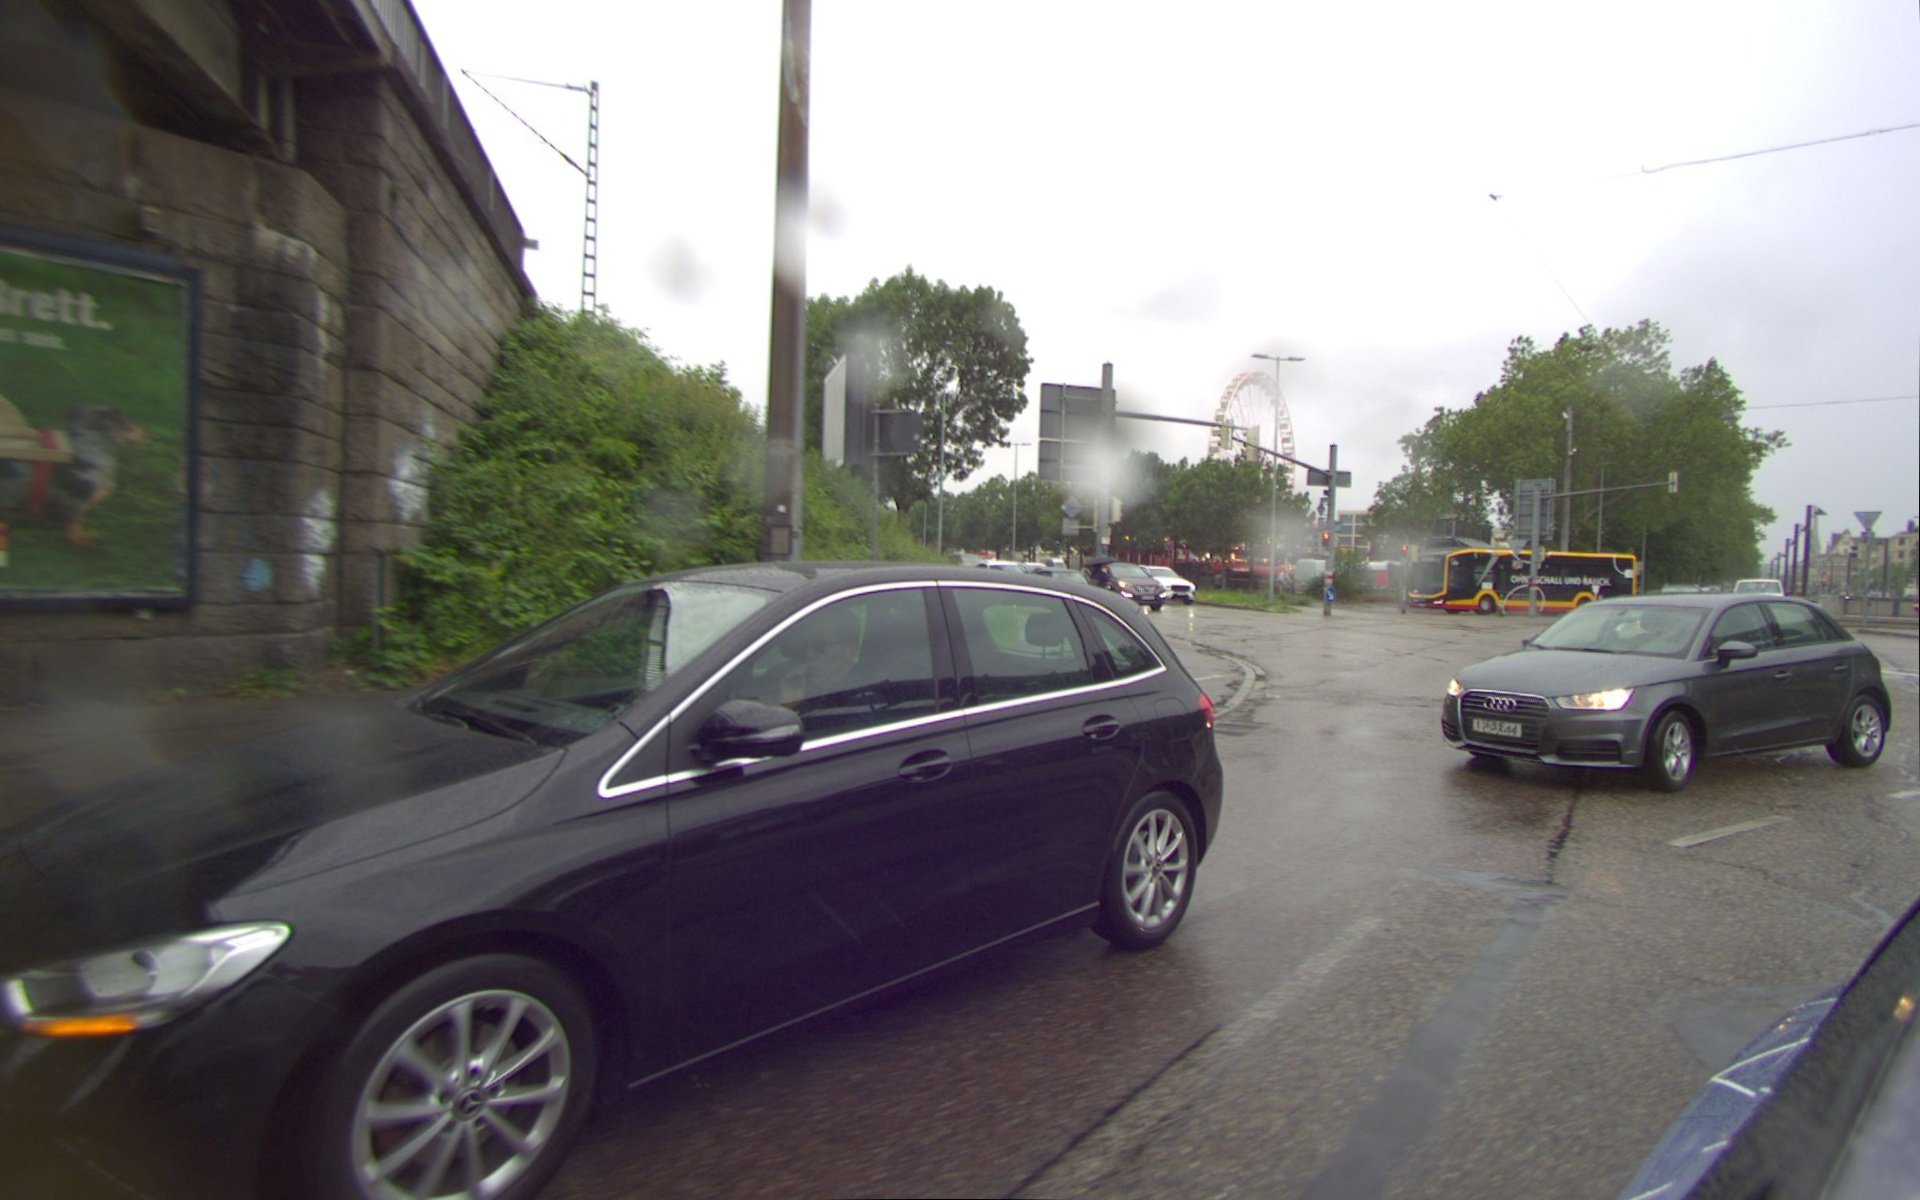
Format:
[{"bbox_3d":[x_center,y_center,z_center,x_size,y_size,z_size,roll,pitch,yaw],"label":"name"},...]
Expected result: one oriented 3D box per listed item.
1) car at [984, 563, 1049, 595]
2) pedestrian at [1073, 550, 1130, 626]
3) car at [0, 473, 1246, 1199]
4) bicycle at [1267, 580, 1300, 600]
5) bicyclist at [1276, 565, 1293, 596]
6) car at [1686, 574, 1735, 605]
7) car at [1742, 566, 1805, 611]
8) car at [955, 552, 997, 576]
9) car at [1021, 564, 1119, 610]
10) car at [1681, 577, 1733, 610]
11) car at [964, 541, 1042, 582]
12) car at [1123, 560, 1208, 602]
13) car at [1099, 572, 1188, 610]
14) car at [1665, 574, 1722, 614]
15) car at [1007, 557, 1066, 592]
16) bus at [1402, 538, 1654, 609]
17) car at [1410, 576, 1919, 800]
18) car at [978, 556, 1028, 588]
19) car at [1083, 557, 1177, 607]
[{"bbox_3d":[2.671,-1.018,48.510,1.794,1.374,4.010,1,3,-17],"label":"car"},{"bbox_3d":[3.315,-0.297,23.772,0.984,1.740,0.822,1,2,-23],"label":"pedestrian"},{"bbox_3d":[-0.828,0.505,3.636,1.871,1.542,4.022,3,3,44],"label":"car"},{"bbox_3d":[20.427,-0.614,63.934,0.804,1.179,2.266,1,2,-19],"label":"bicycle"},{"bbox_3d":[20.457,-1.239,63.852,0.754,1.904,0.623,0,2,-18],"label":"bicyclist"},{"bbox_3d":[48.054,-0.709,64.846,2.062,1.871,4.693,2,3,32],"label":"car"},{"bbox_3d":[36.598,-0.561,45.642,2.067,1.871,4.682,3,3,38],"label":"car"},{"bbox_3d":[1.201,-2.716,75.813,1.904,1.741,4.010,1,3,-18],"label":"car"},{"bbox_3d":[3.681,-0.481,34.622,1.858,1.365,4.011,0,3,-17],"label":"car"},{"bbox_3d":[43.265,-0.406,58.697,1.875,1.776,3.959,2,2,29],"label":"car"},{"bbox_3d":[1.658,-1.558,40.475,1.794,1.500,4.010,1,3,-18],"label":"car"},{"bbox_3d":[9.271,-0.895,46.005,2.131,1.741,4.313,1,3,-13],"label":"car"},{"bbox_3d":[7.513,-0.401,41.825,1.794,1.374,4.010,0,3,-21],"label":"car"},{"bbox_3d":[33.406,-0.300,46.036,1.924,1.671,4.284,3,3,38],"label":"car"},{"bbox_3d":[4.043,-1.390,54.113,1.831,1.741,4.010,1,3,-17],"label":"car"},{"bbox_3d":[28.782,-1.308,51.303,12.031,3.308,3.282,1,2,-14],"label":"bus"},{"bbox_3d":[5.866,0.564,8.359,3.675,1.415,1.847,-1,3,-21],"label":"car"},{"bbox_3d":[2.510,-1.697,60.264,1.812,1.741,4.010,1,3,-16],"label":"car"},{"bbox_3d":[6.145,-0.713,37.011,1.986,1.677,4.071,1,3,-12],"label":"car"}]
